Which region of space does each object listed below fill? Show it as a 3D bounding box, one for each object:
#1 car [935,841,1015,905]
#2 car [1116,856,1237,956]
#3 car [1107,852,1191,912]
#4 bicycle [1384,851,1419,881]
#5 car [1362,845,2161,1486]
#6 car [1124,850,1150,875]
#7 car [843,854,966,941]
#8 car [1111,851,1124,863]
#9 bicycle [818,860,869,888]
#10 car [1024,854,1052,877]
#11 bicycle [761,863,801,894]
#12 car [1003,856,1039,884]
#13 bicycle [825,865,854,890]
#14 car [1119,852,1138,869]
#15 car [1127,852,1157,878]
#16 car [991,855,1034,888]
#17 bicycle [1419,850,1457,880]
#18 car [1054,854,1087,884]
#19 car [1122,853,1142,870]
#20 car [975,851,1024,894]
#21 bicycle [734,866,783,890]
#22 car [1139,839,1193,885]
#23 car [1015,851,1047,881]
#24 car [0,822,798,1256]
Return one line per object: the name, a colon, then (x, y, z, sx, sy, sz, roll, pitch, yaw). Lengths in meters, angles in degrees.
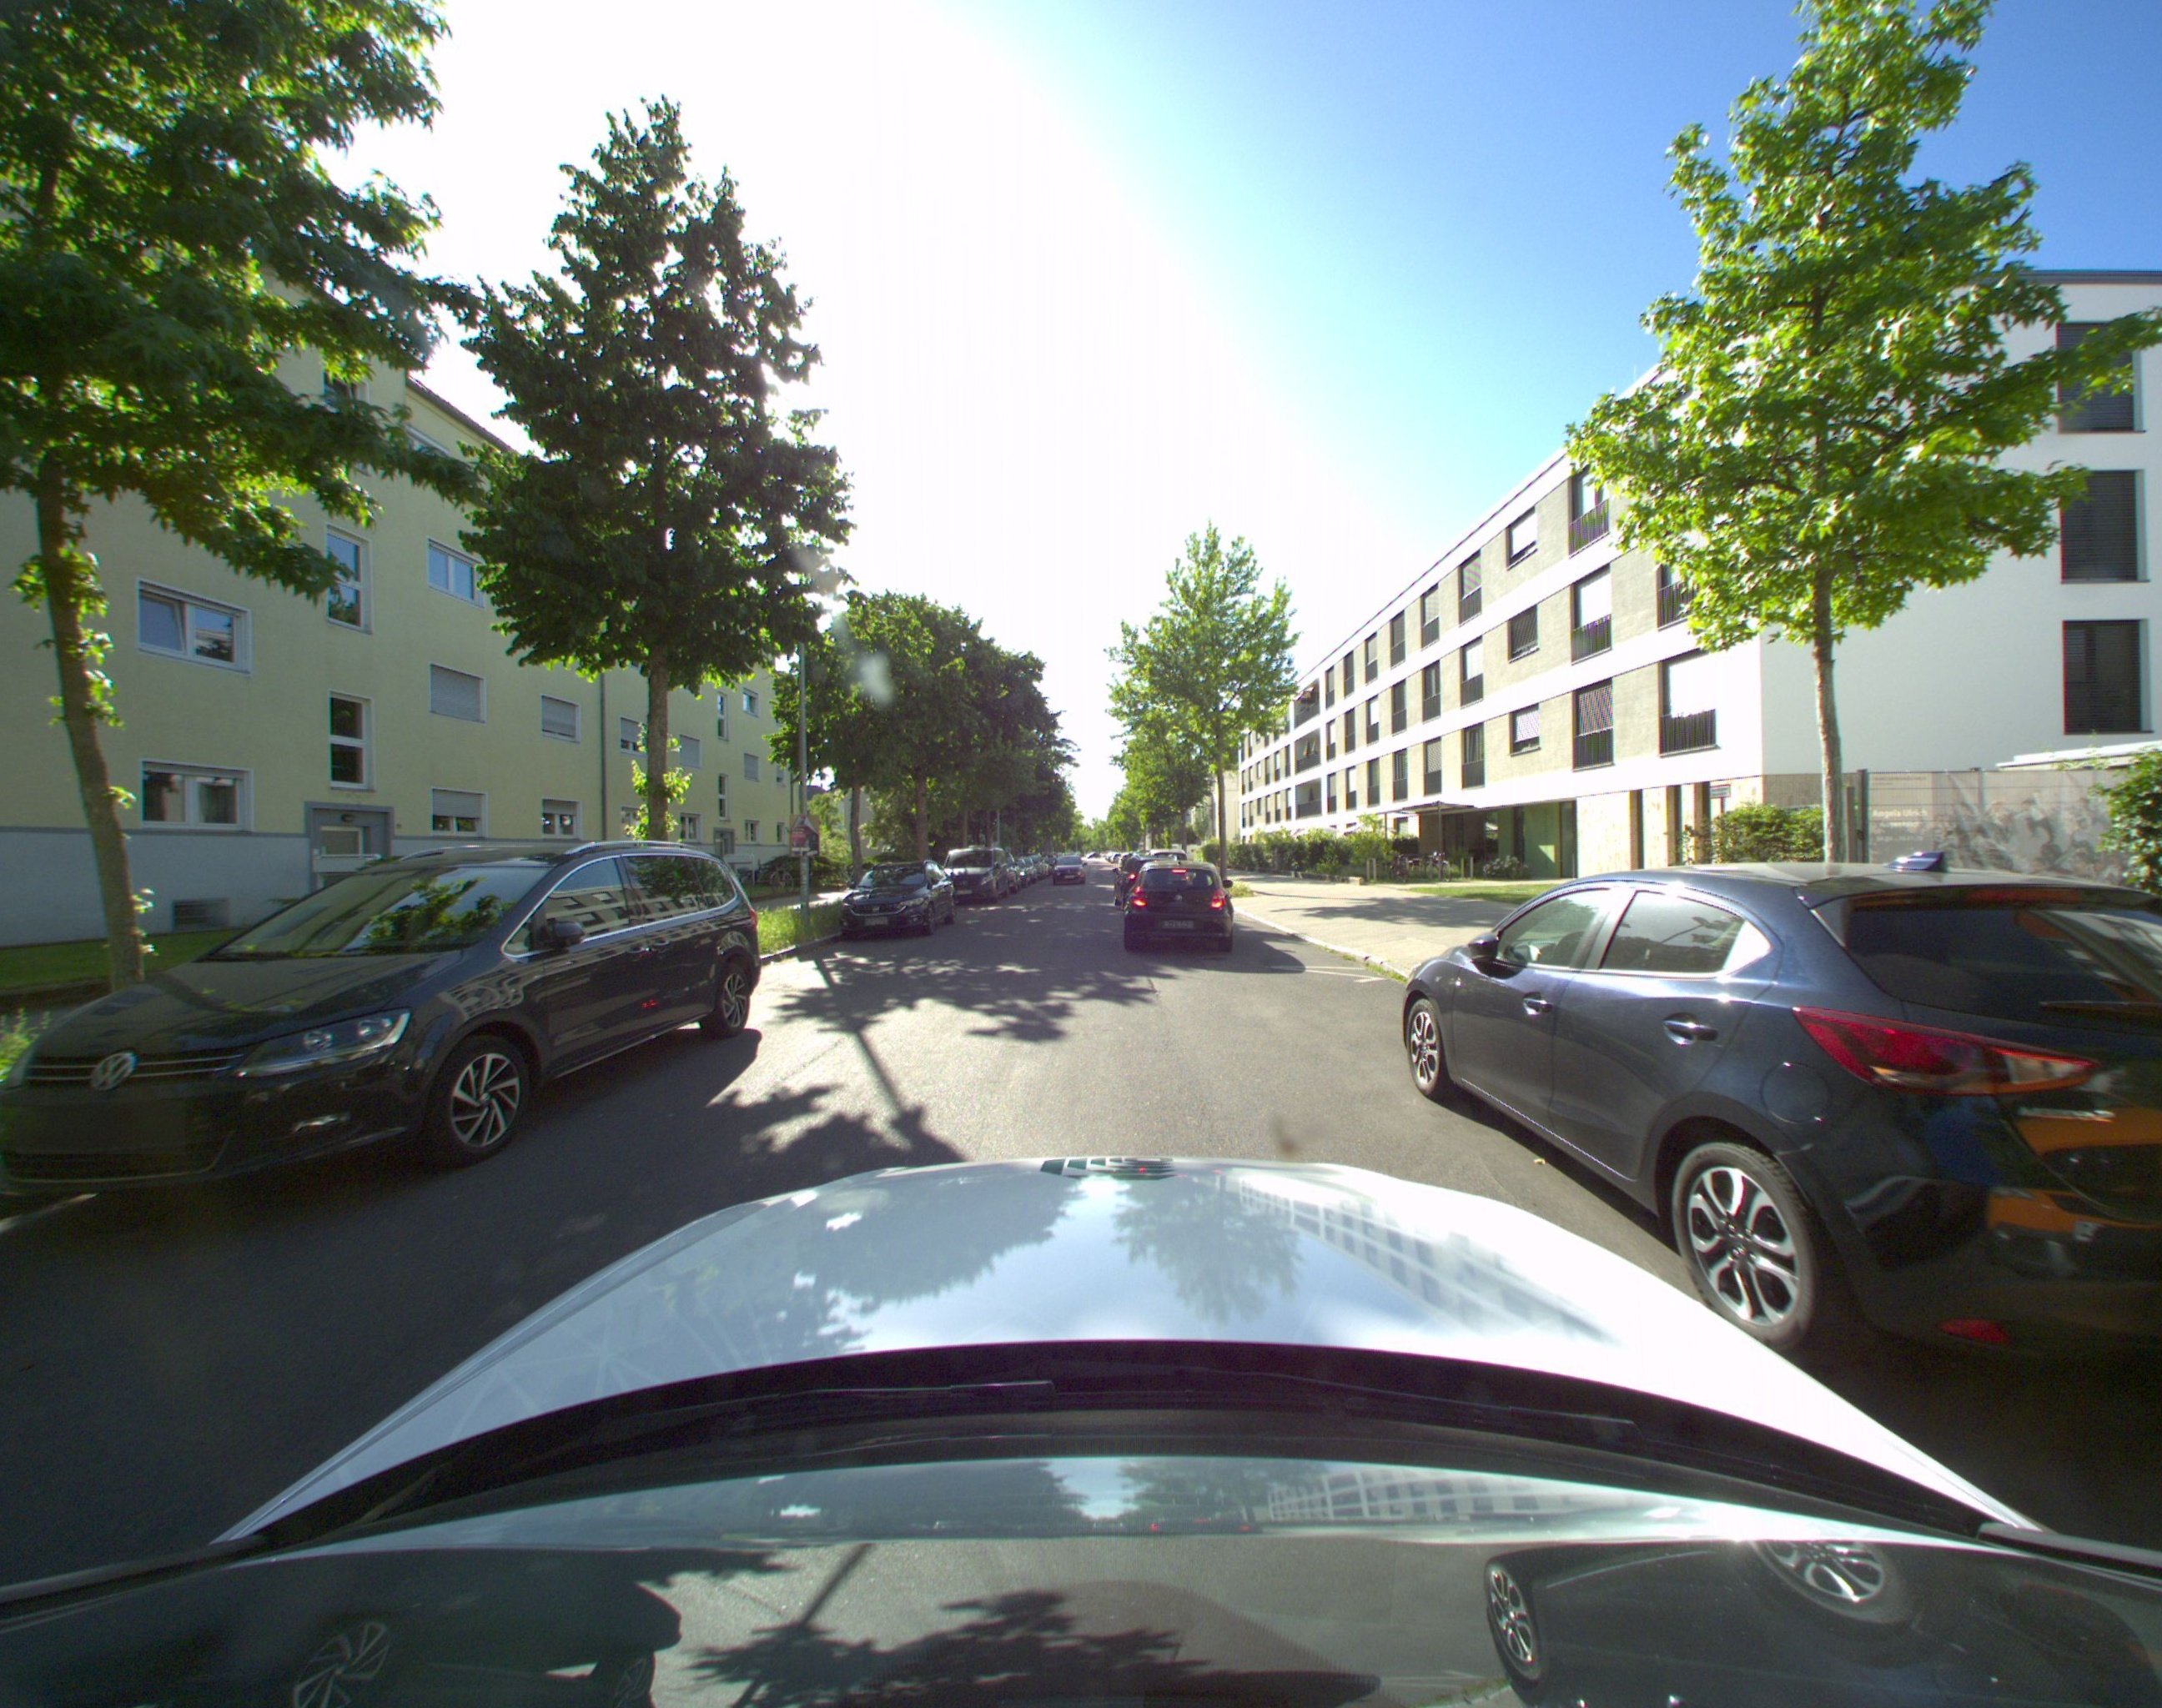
car: (-3.529, 0.594, 28.078, 1.819, 1.904, 5.144, -3, 0, 2)
car: (1.487, 0.774, 13.760, 1.644, 1.397, 3.412, -2, 0, 1)
car: (1.771, 0.691, 22.257, 1.646, 1.425, 3.995, -2, 0, -4)
bicycle: (11.732, 0.435, 29.843, 0.544, 1.055, 1.690, -2, 0, -2)
car: (2.875, 0.714, 3.933, 1.694, 1.449, 4.084, -2, 0, 1)
car: (3.924, 0.587, 57.456, 1.714, 1.641, 3.853, 1, 0, 2)
car: (-3.664, 0.820, 17.772, 1.502, 1.548, 4.778, -3, 0, 1)
car: (5.073, 0.419, 112.658, 1.713, 1.480, 3.855, -2, 0, 4)
bicycle: (-10.744, 0.902, 36.909, 2.145, 1.208, 0.688, -2, 0, -10)
car: (-2.895, 0.749, 55.458, 1.607, 1.452, 3.865, -2, 0, 0)
bicycle: (-10.329, 0.824, 28.073, 0.592, 0.991, 1.928, -2, 0, 1)
car: (-3.204, 0.834, 44.314, 1.607, 1.427, 3.725, -2, 0, 0)
bicycle: (-10.072, 0.971, 34.032, 0.592, 0.991, 1.928, -2, 0, 1)
car: (4.449, 0.608, 77.361, 1.714, 1.480, 3.853, 1, 0, 2)
car: (3.831, 0.652, 51.447, 1.714, 1.528, 4.002, 1, 0, 2)
car: (-3.247, 0.821, 39.219, 1.607, 1.427, 4.058, -2, 0, 0)
bicycle: (13.091, 0.399, 29.875, 0.544, 1.055, 1.779, -2, 0, -2)
car: (-0.504, 0.741, 41.336, 1.500, 1.426, 3.178, -2, 0, 1)
car: (4.531, 0.660, 72.572, 1.714, 1.379, 3.853, 1, 0, 2)
car: (-3.326, 0.732, 33.910, 1.608, 1.611, 4.227, -2, 0, -1)
bicycle: (-14.468, 1.060, 36.582, 1.919, 0.991, 0.595, -2, 0, -7)
car: (3.197, 0.292, 31.323, 1.840, 1.631, 4.413, 0, 0, 3)
car: (-3.018, 0.694, 49.754, 1.607, 1.679, 4.234, -2, 0, 0)
car: (-3.898, 0.755, 5.815, 1.843, 1.680, 4.977, -4, 0, 1)
